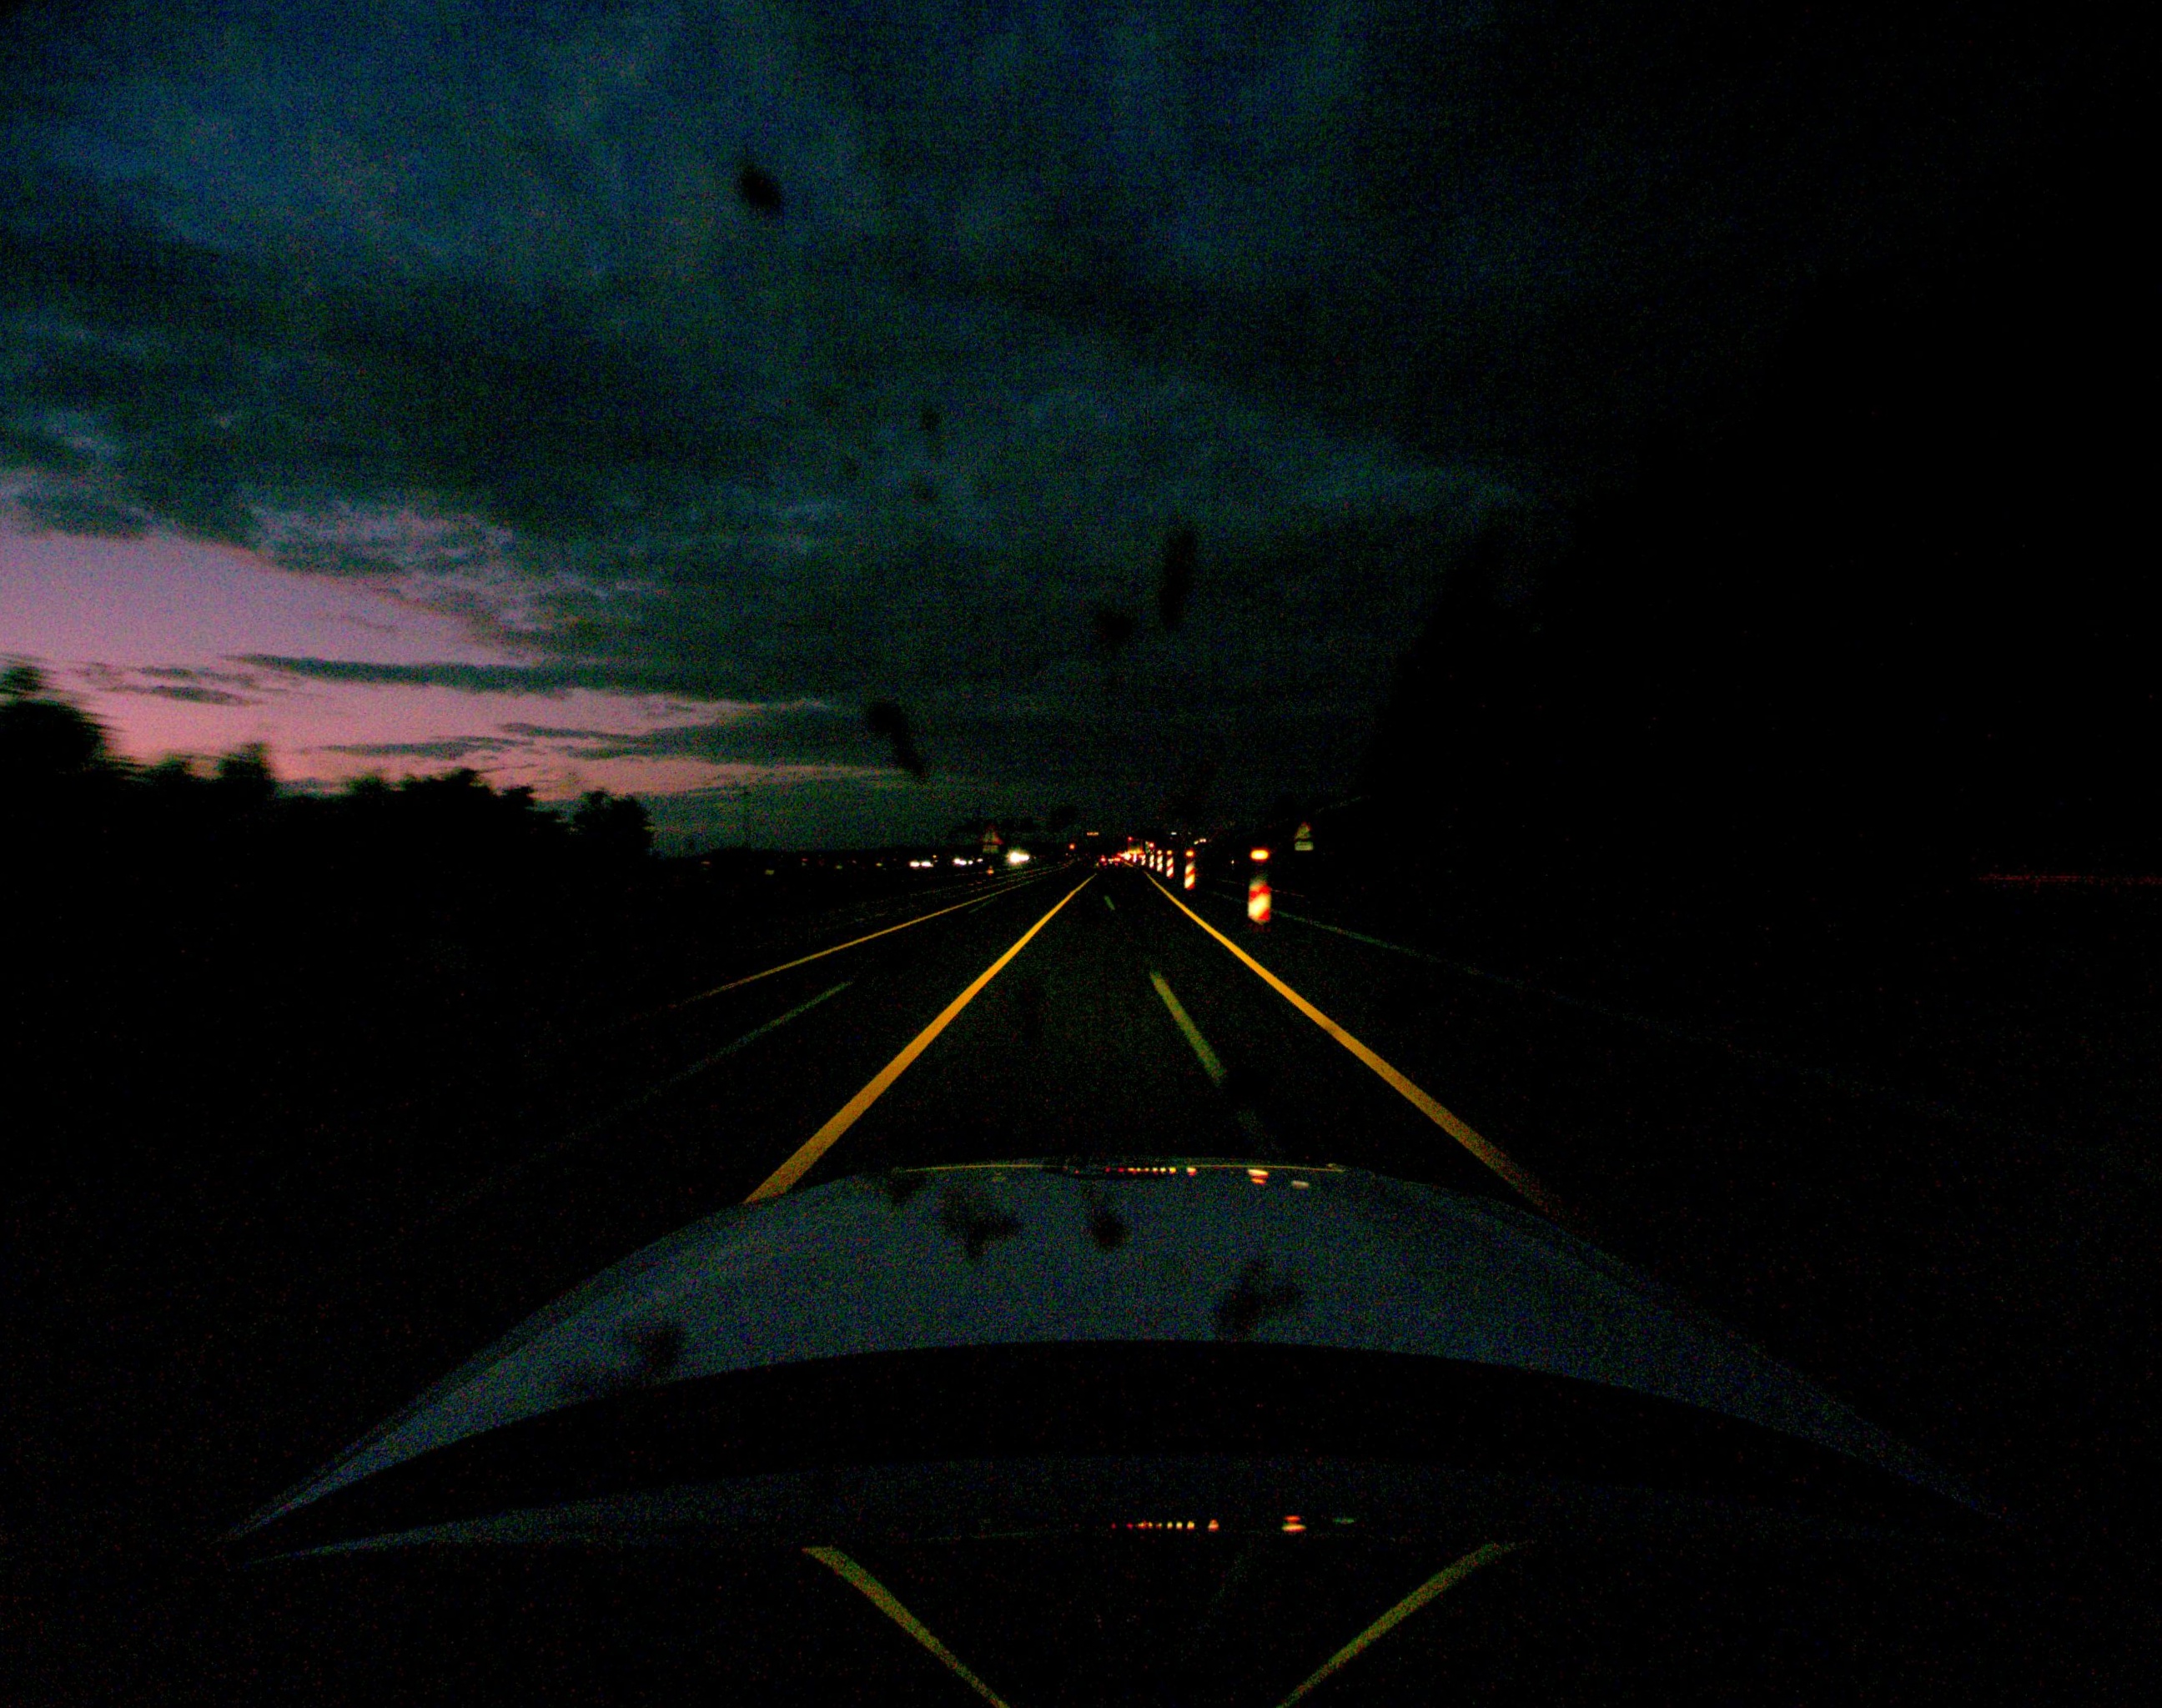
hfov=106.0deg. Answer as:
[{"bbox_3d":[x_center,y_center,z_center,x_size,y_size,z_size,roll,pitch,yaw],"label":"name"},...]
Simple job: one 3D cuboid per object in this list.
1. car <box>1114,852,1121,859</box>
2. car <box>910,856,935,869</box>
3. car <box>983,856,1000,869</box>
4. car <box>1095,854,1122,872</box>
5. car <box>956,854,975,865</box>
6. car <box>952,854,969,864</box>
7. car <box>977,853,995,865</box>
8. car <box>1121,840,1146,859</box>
[{"bbox_3d":[11.332,0.520,252.671,1.986,2.013,4.001,0,0,1],"label":"car"},{"bbox_3d":[-18.329,0.935,94.485,1.986,1.464,4.136,0,0,1],"label":"car"},{"bbox_3d":[-13.339,1.223,121.659,1.986,1.828,4.002,0,0,2],"label":"car"},{"bbox_3d":[2.514,0.820,75.373,2.260,1.621,3.996,0,0,-3],"label":"car"},{"bbox_3d":[-15.858,0.780,111.819,1.756,1.464,4.692,0,0,2],"label":"car"},{"bbox_3d":[-18.343,0.783,123.911,1.757,1.548,4.427,0,0,2],"label":"car"},{"bbox_3d":[-13.340,0.658,114.751,1.986,1.714,4.002,0,0,2],"label":"car"},{"bbox_3d":[9.834,-0.837,153.507,3.599,3.395,8.000,0,0,-5],"label":"car"}]
